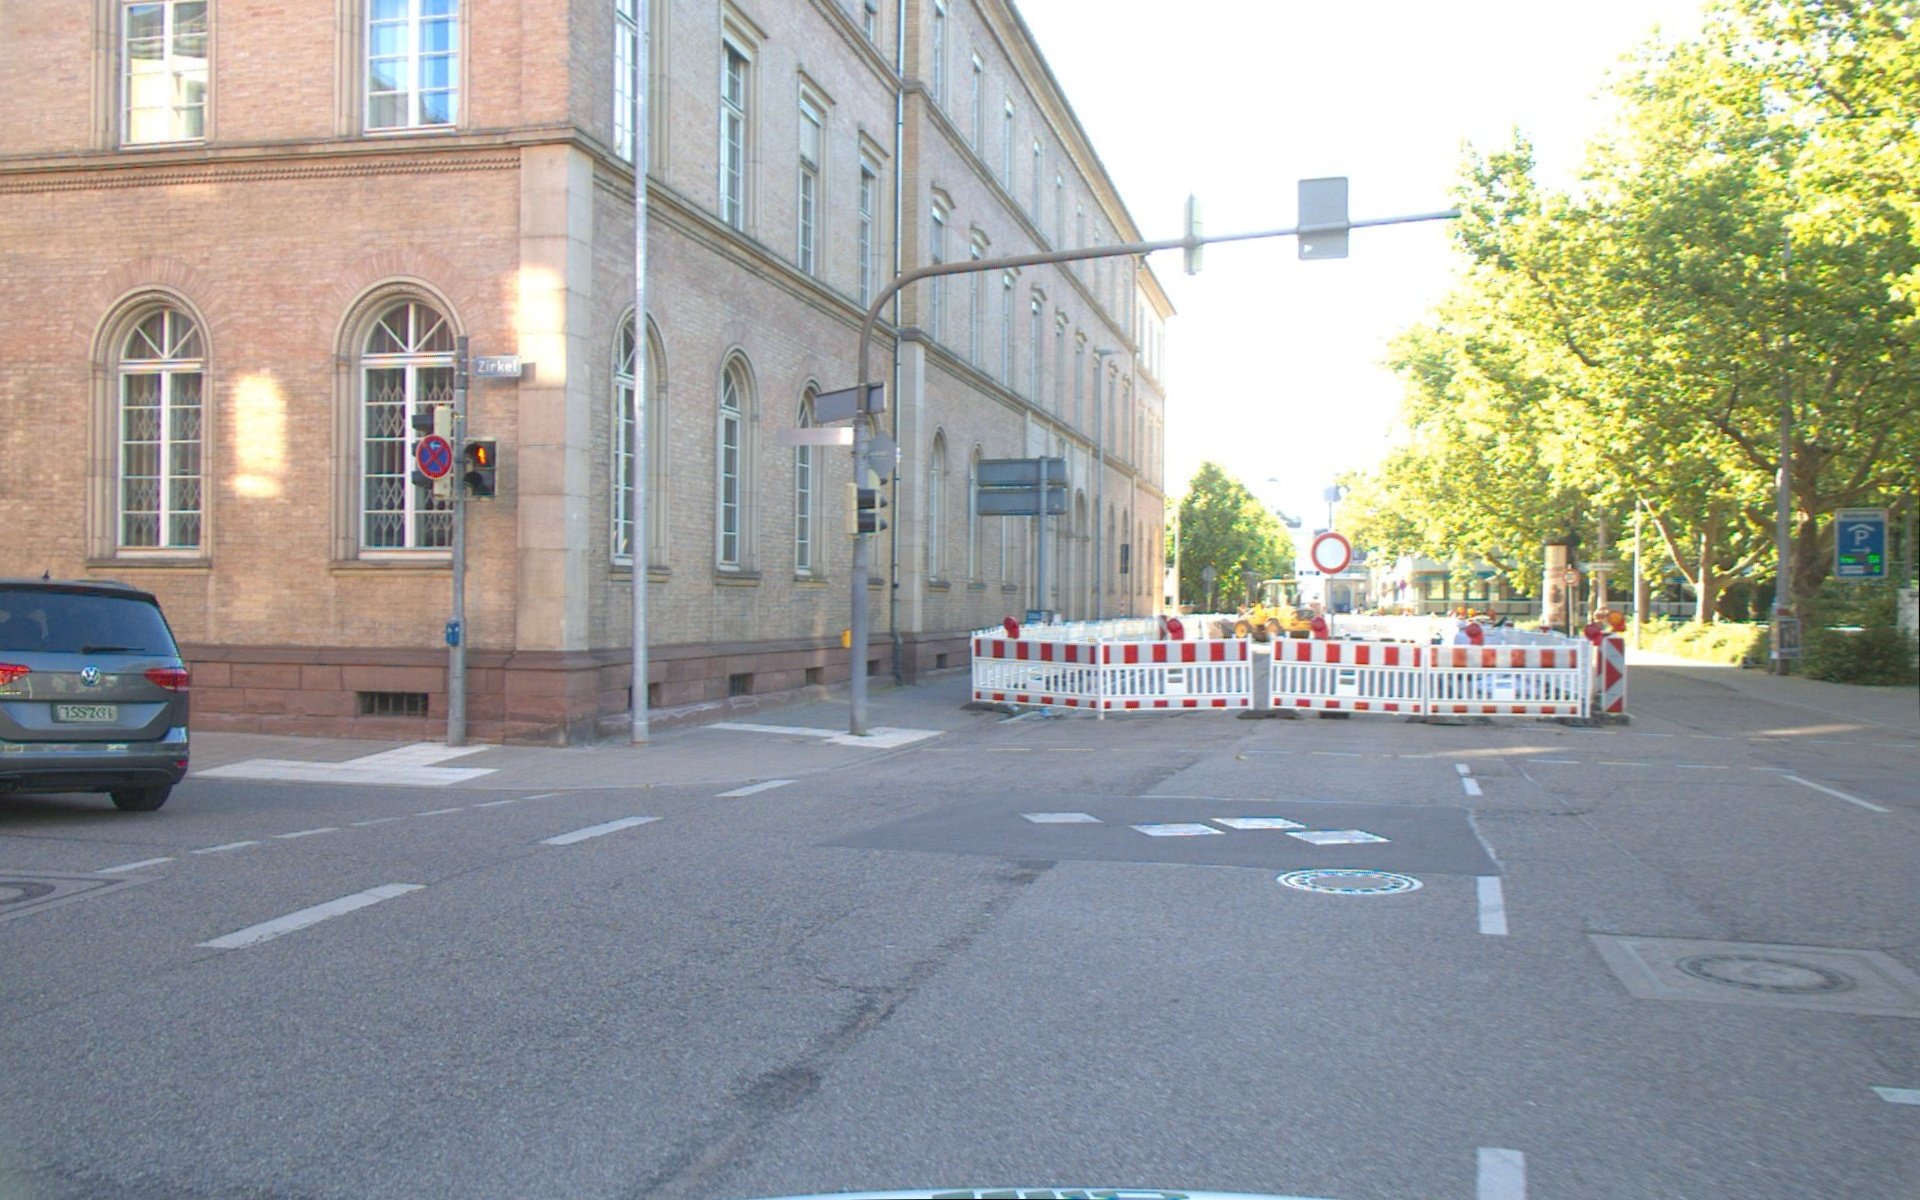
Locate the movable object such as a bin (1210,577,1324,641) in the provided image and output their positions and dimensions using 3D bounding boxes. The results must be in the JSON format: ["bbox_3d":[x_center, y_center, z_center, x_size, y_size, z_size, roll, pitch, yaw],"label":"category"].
[{"bbox_3d":[13.878,0.398,74.932,2.444,2.825,4.784,1,0,-34],"label":"movable object such as a bin"}]

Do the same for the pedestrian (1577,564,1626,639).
[{"bbox_3d":[23.479,0.060,60.541,1.396,2.714,1.143,0,-1,37],"label":"pedestrian"}]

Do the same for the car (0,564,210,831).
[{"bbox_3d":[-7.130,0.573,11.663,3.923,1.635,1.760,1,1,38],"label":"car"}]
